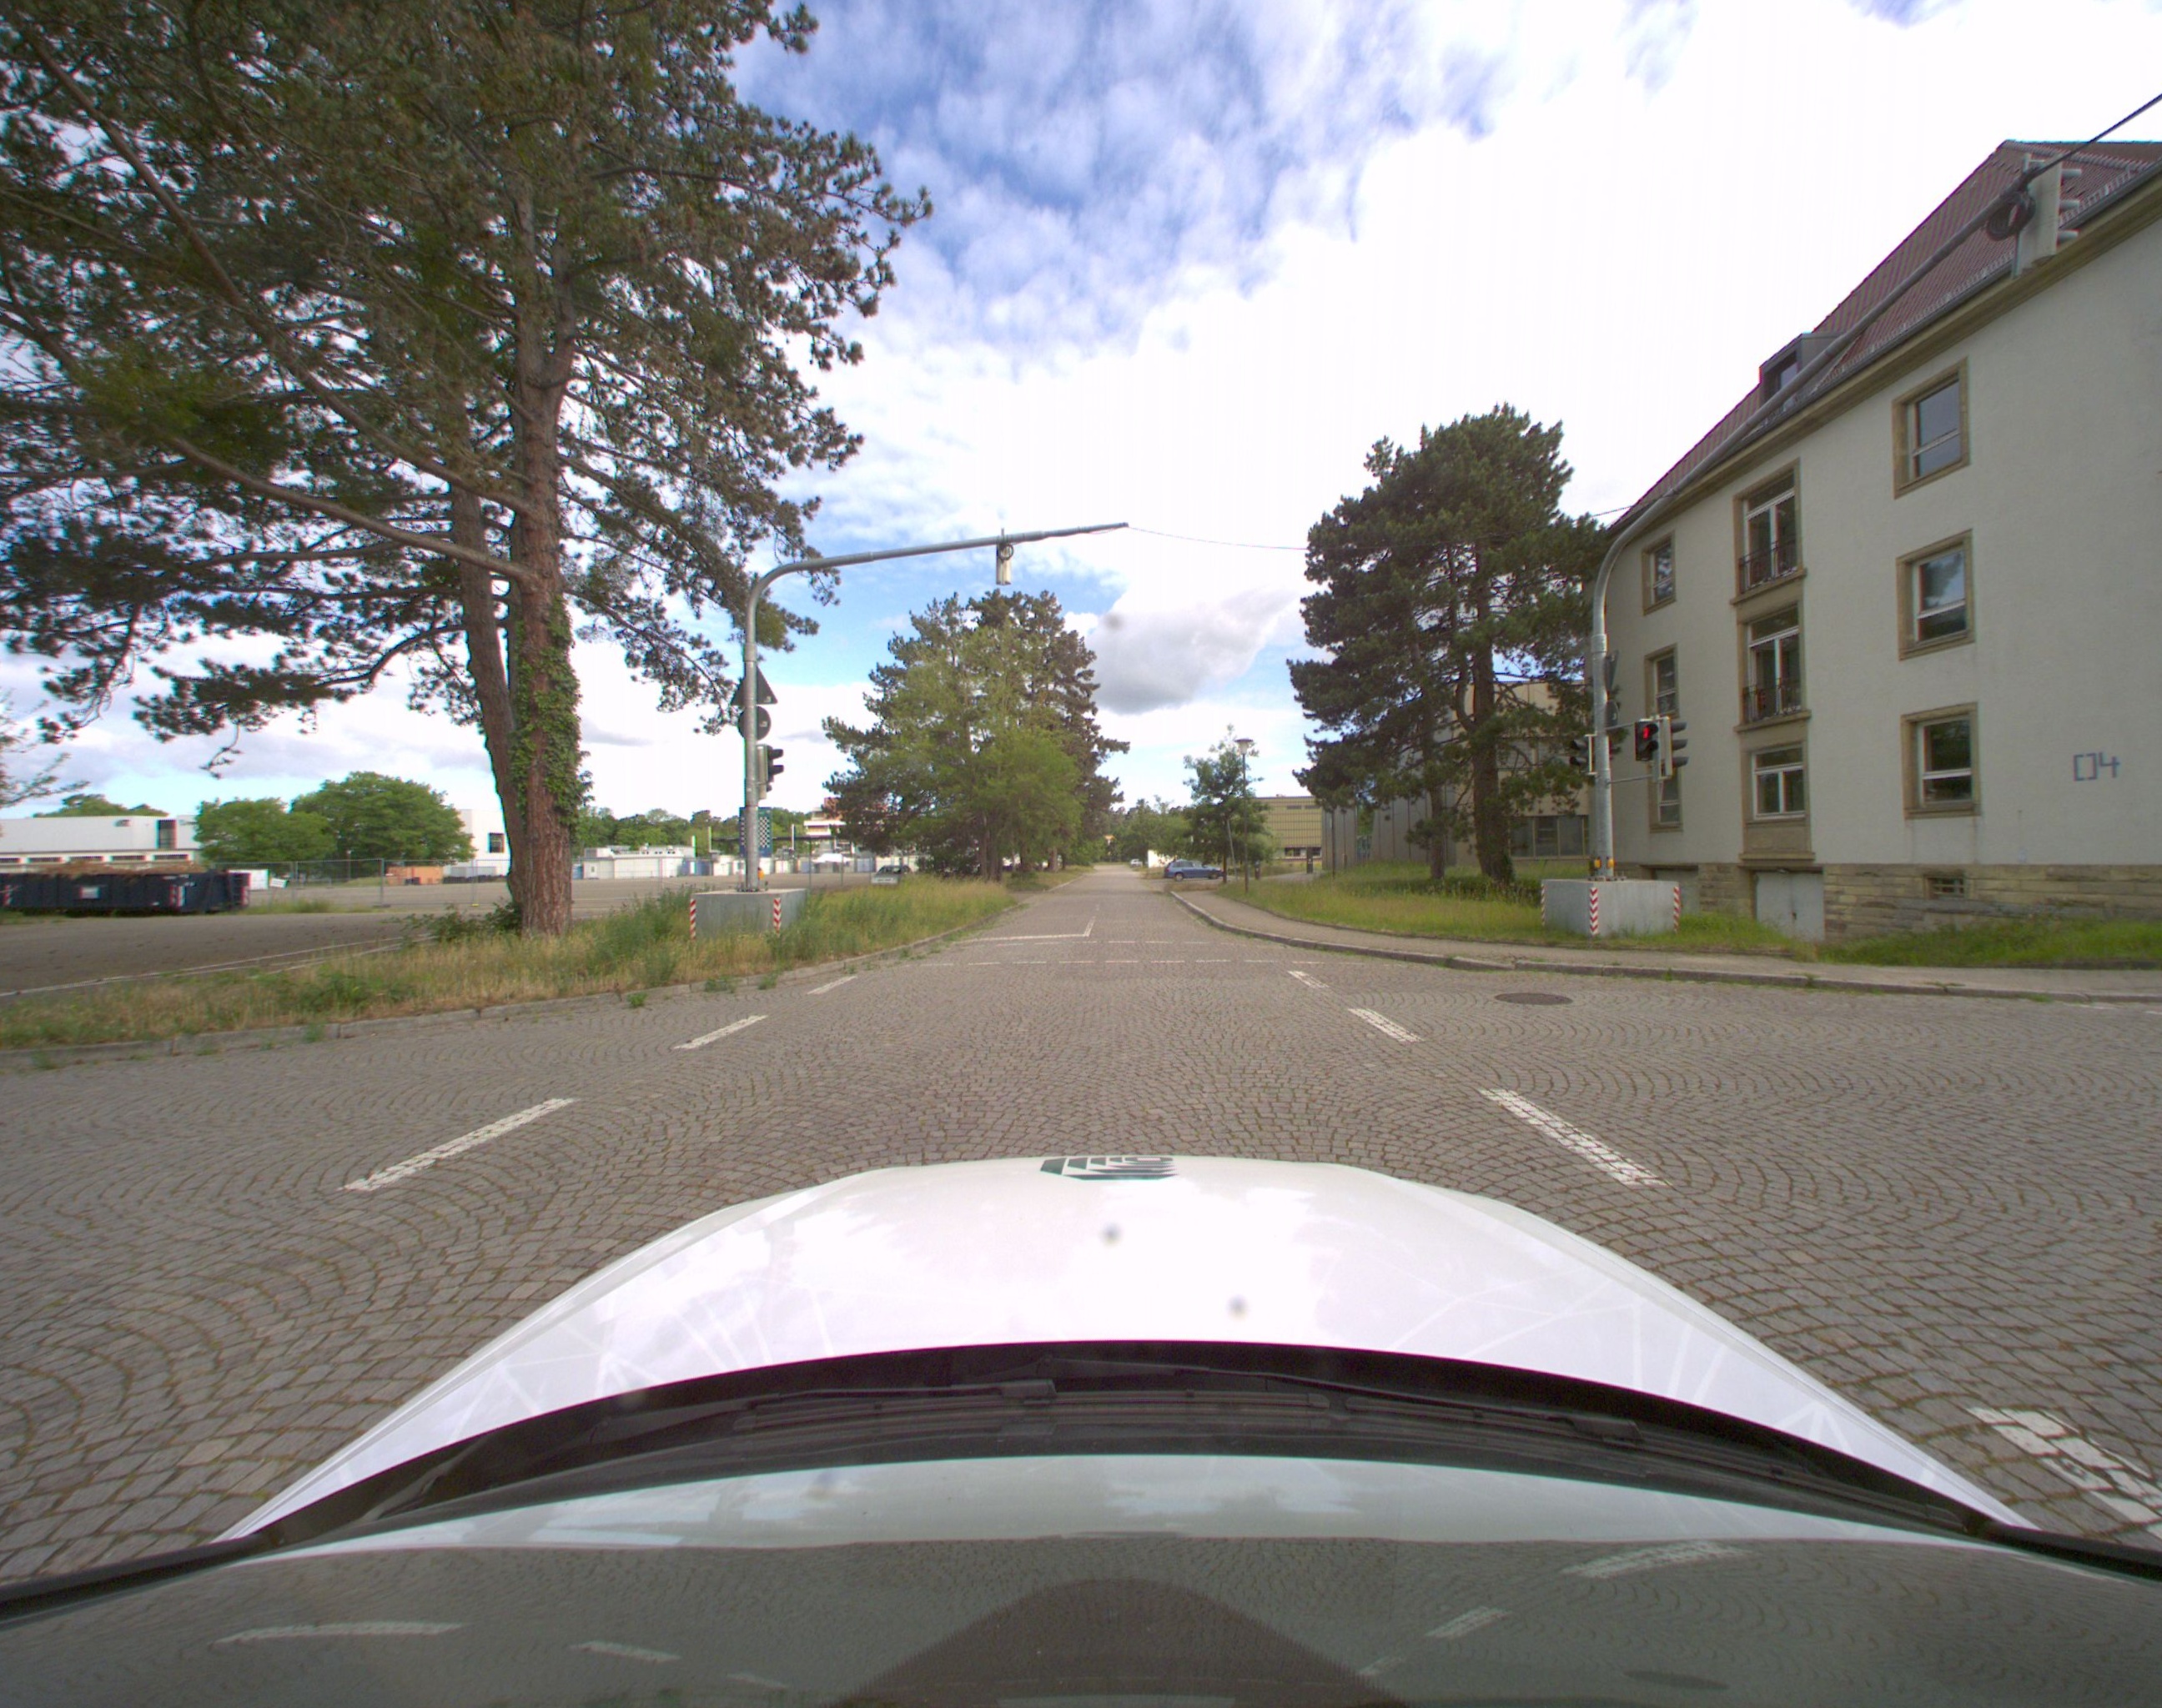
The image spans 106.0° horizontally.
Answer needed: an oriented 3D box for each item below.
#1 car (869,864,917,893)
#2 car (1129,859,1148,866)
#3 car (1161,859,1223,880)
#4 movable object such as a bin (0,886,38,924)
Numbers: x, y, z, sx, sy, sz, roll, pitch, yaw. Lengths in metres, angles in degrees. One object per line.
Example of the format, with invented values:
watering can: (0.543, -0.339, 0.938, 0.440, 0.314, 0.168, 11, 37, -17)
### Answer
car: (-10.727, 1.375, 46.699, 1.606, 1.487, 4.002, -1, 0, 2)
car: (12.489, 1.834, 177.939, 3.979, 1.398, 1.997, -1, 0, -4)
car: (8.272, 1.130, 60.876, 4.330, 1.422, 2.000, -1, 0, 0)
movable object such as a bin: (-30.763, 1.452, 22.233, 1.175, 1.048, 2.656, -1, 0, -2)
